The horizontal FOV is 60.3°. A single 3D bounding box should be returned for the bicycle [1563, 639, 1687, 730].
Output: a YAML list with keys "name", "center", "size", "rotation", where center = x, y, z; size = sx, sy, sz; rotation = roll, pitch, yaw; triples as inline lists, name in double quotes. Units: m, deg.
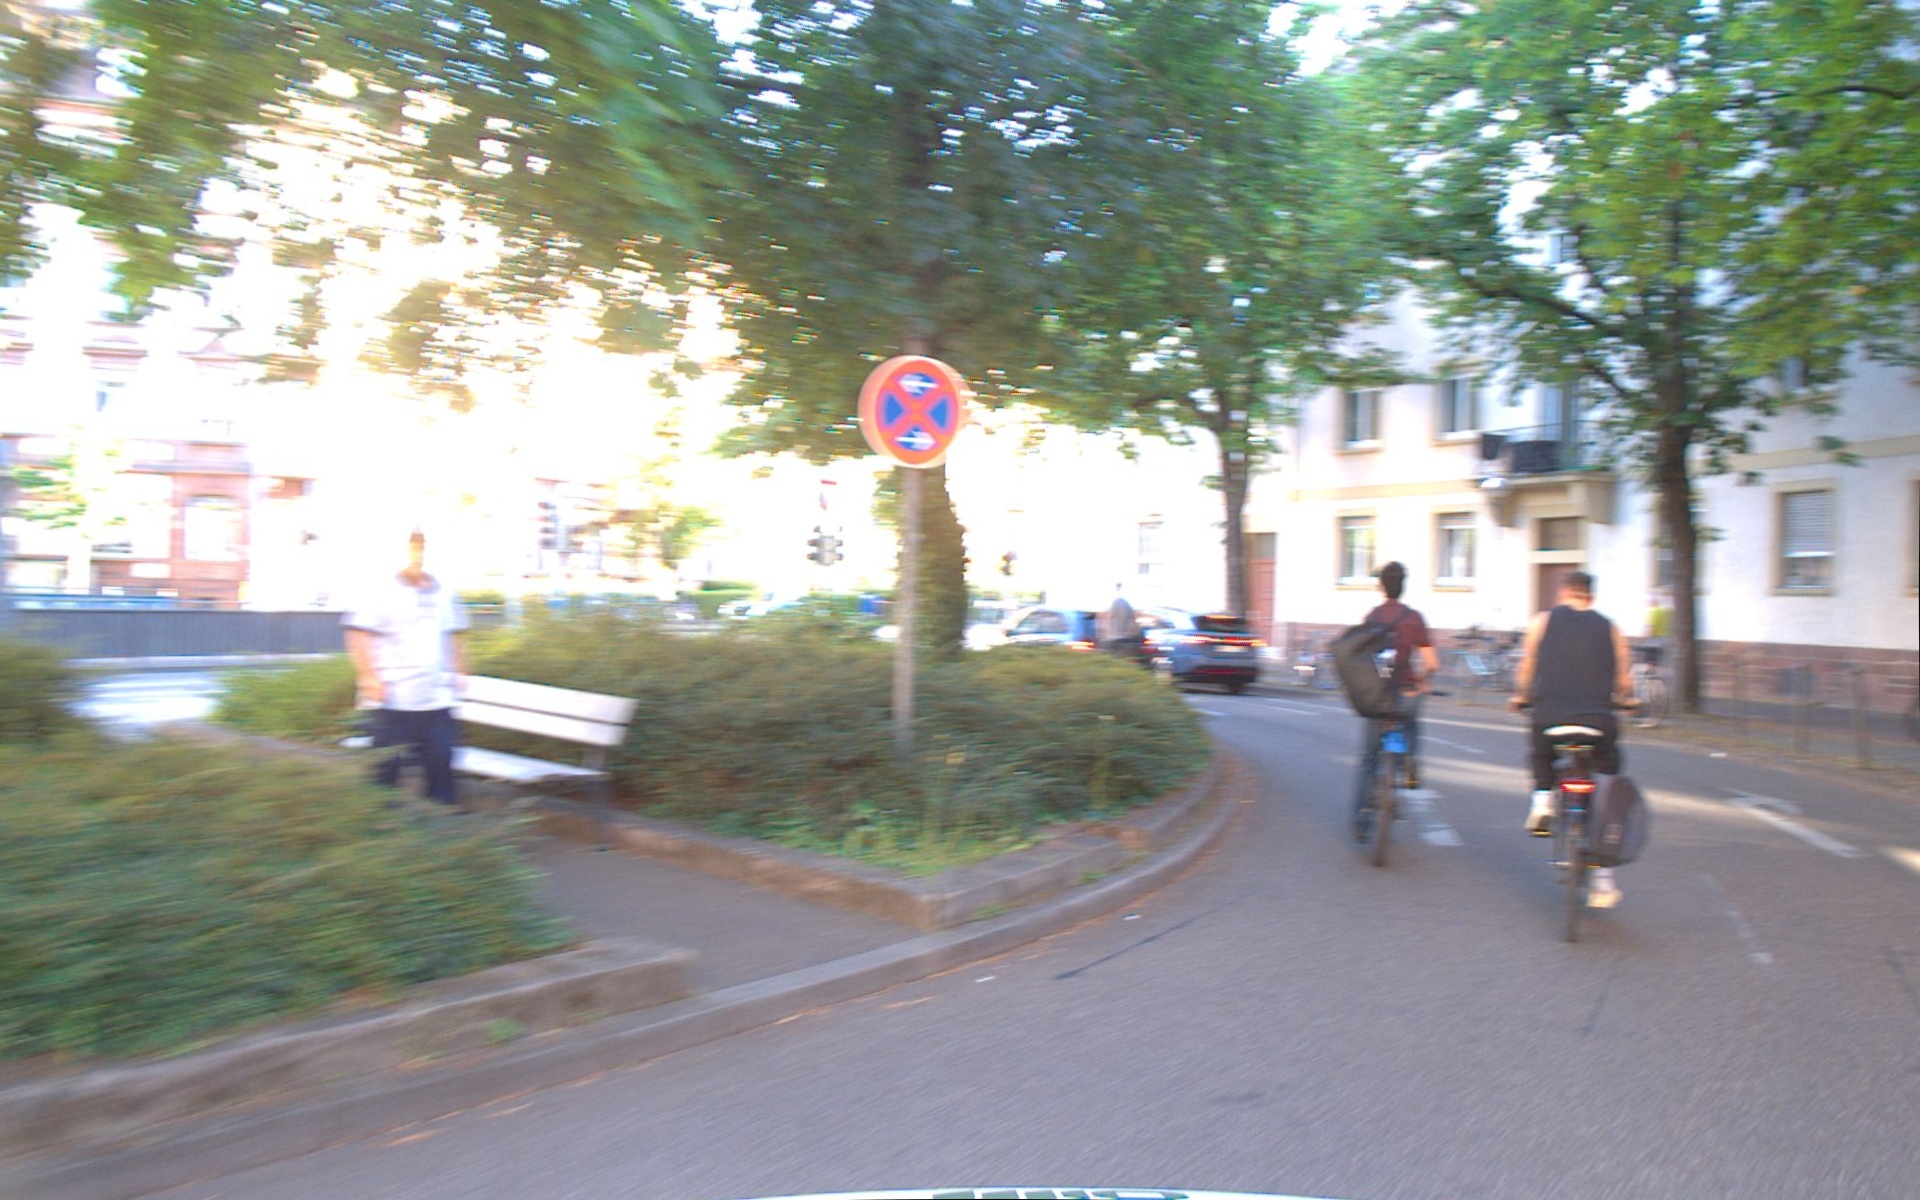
- name: "bicycle"
  center: [9.196, 1.144, 22.961]
  size: [0.605, 1.132, 1.987]
  rotation: [-2, 1, -11]

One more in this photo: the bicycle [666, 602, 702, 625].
- name: "bicycle"
  center: [-10.969, 0.540, 65.674]
  size: [0.442, 0.877, 1.438]
  rotation: [2, 0, 41]

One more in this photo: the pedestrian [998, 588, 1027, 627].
- name: "pedestrian"
  center: [2.799, 0.397, 88.000]
  size: [1.134, 1.996, 1.387]
  rotation: [2, 0, 22]

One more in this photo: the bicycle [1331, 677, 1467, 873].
- name: "bicycle"
  center: [2.860, 1.062, 10.639]
  size: [0.660, 1.072, 2.061]
  rotation: [0, -1, 20]

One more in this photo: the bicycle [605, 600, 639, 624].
- name: "bicycle"
  center: [-12.768, 0.471, 62.506]
  size: [0.442, 0.877, 1.217]
  rotation: [2, 0, 41]

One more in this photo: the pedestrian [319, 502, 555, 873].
- name: "pedestrian"
  center: [-2.604, 0.406, 8.216]
  size: [0.907, 1.713, 0.771]
  rotation: [1, 0, -34]

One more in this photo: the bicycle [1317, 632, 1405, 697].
- name: "bicycle"
  center: [7.259, 1.154, 30.022]
  size: [0.607, 1.076, 1.917]
  rotation: [0, 1, -20]

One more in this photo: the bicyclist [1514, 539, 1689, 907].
- name: "bicyclist"
  center: [3.186, 0.574, 8.286]
  size: [0.736, 1.711, 0.913]
  rotation: [1, 0, 19]

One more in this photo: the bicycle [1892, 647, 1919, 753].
- name: "bicycle"
  center: [11.444, 1.130, 18.449]
  size: [0.661, 1.203, 1.811]
  rotation: [-1, -1, -20]

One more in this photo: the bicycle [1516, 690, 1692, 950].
- name: "bicycle"
  center: [3.202, 1.027, 8.375]
  size: [0.722, 1.030, 2.062]
  rotation: [0, 0, 18]

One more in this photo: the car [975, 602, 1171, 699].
- name: "car"
  center: [1.932, 0.841, 29.455]
  size: [1.791, 1.570, 3.925]
  rotation: [0, 0, -26]

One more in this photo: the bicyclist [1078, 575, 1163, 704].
- name: "bicyclist"
  center: [2.462, 0.585, 25.456]
  size: [0.839, 1.931, 1.132]
  rotation: [1, 0, -22]

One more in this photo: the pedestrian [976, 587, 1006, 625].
- name: "pedestrian"
  center: [1.673, 0.337, 88.559]
  size: [1.134, 1.996, 1.387]
  rotation: [2, 0, 22]

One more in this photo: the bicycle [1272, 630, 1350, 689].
- name: "bicycle"
  center: [6.658, 1.112, 31.495]
  size: [0.511, 1.016, 2.183]
  rotation: [2, 0, -14]

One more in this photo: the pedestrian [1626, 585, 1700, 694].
- name: "pedestrian"
  center: [11.962, 0.665, 28.161]
  size: [0.979, 1.826, 0.656]
  rotation: [0, 0, -20]

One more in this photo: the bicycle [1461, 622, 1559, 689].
- name: "bicycle"
  center: [10.082, 1.002, 30.375]
  size: [0.573, 1.133, 2.106]
  rotation: [1, 0, -18]

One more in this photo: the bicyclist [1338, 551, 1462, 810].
- name: "bicyclist"
  center: [2.801, 0.481, 10.468]
  size: [0.657, 1.541, 1.069]
  rotation: [1, -1, 20]

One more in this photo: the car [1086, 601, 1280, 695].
- name: "car"
  center: [4.167, 0.869, 31.503]
  size: [1.867, 1.605, 3.971]
  rotation: [2, 0, -24]

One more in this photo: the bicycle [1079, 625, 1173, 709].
- name: "bicycle"
  center: [2.527, 1.003, 25.354]
  size: [0.589, 1.182, 2.030]
  rotation: [2, 0, -20]

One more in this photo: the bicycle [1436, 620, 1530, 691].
- name: "bicycle"
  center: [9.516, 0.992, 30.179]
  size: [0.486, 1.192, 2.106]
  rotation: [-2, 1, -18]

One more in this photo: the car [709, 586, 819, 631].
- name: "car"
  center: [-7.236, 0.292, 61.478]
  size: [1.955, 1.522, 4.370]
  rotation: [2, 2, 26]

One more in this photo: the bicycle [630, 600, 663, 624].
- name: "bicycle"
  center: [-12.044, 0.458, 63.467]
  size: [0.442, 0.877, 1.217]
  rotation: [2, 0, 41]
